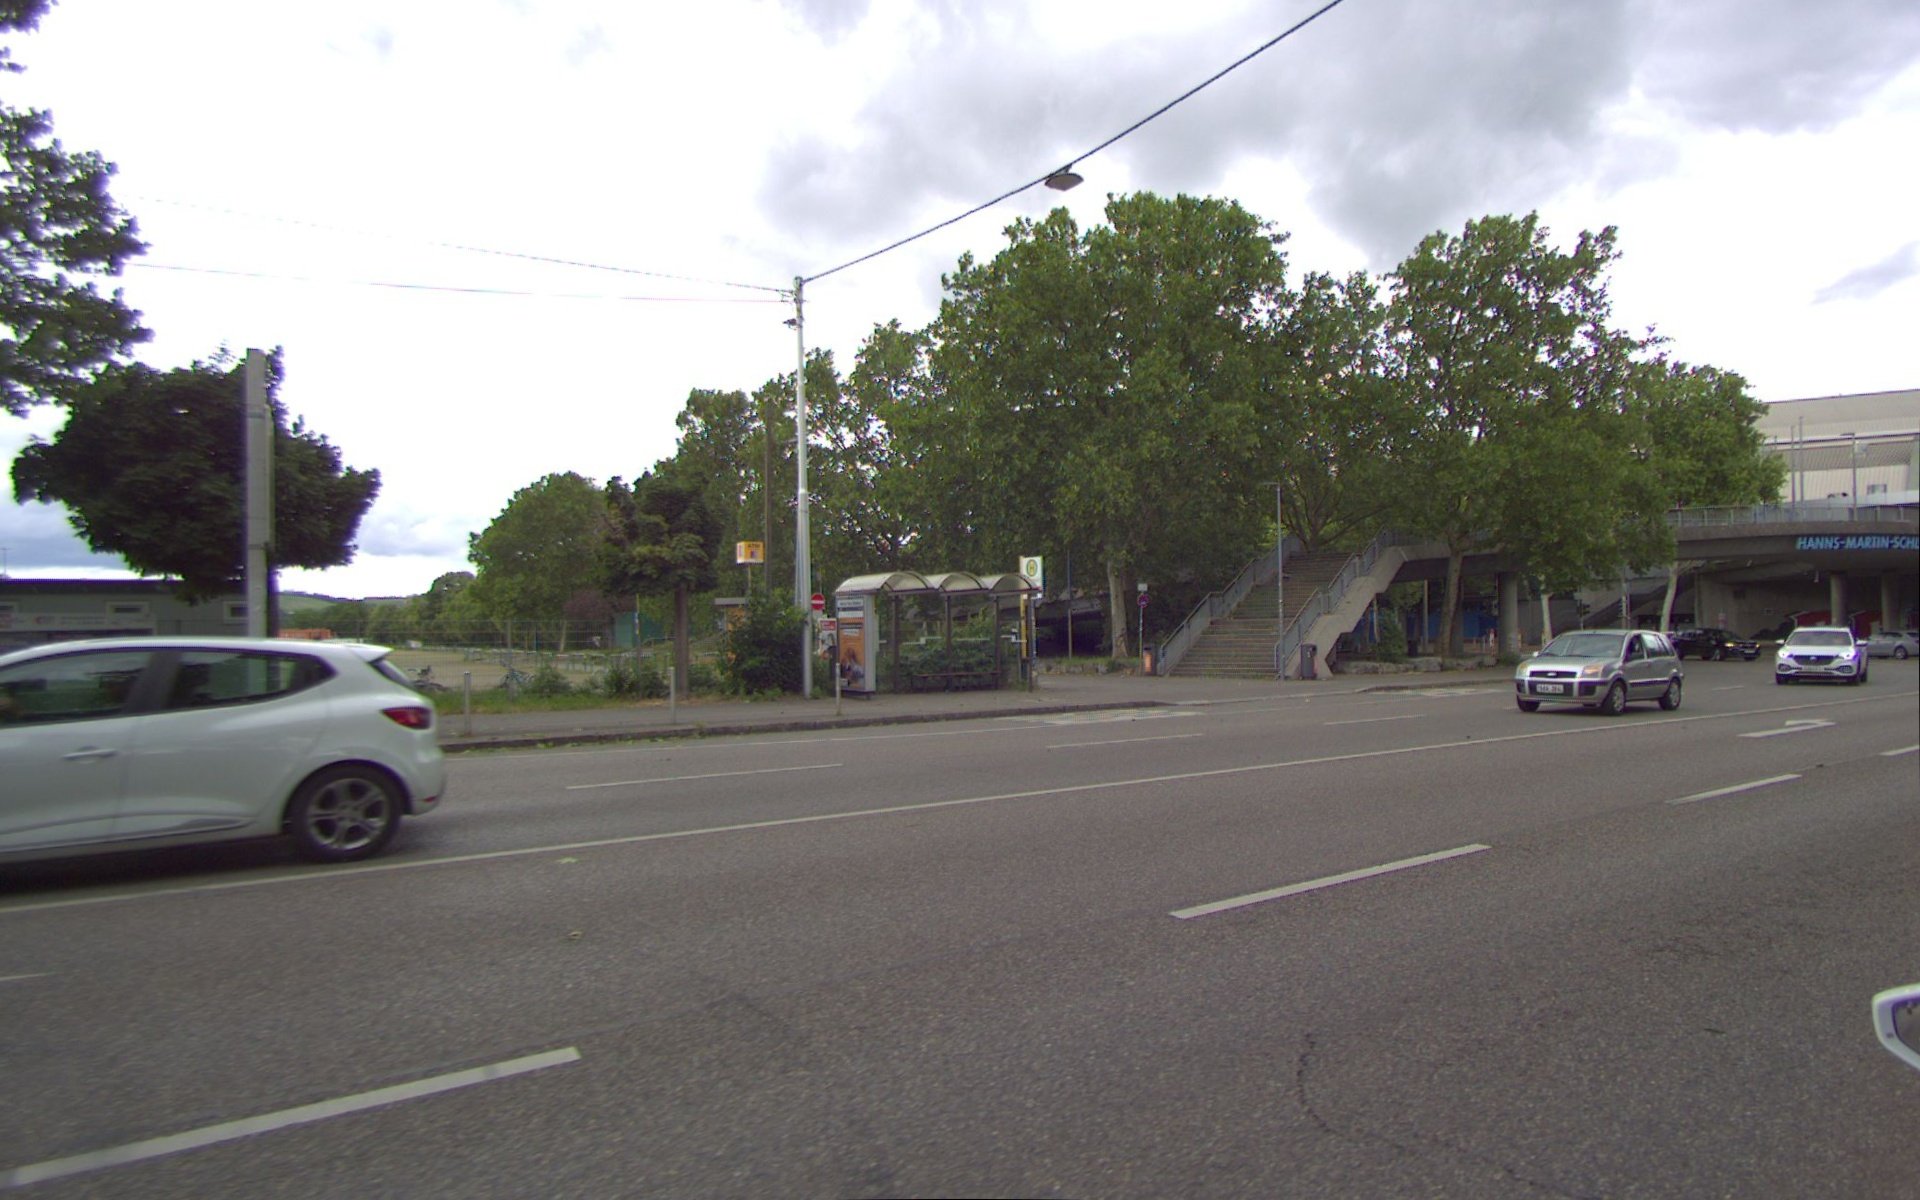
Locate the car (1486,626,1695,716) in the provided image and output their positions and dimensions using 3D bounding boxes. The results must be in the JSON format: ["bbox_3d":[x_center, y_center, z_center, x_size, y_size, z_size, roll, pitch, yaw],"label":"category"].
[{"bbox_3d":[12.109,1.323,19.239,3.960,1.545,1.981,2,-3,-35],"label":"car"}]

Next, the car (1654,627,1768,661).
[{"bbox_3d":[37.655,2.249,50.524,1.746,1.627,4.416,0,-3,-15],"label":"car"}]

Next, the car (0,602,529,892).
[{"bbox_3d":[-5.310,0.846,6.509,4.340,1.550,1.981,1,-3,-35],"label":"car"}]

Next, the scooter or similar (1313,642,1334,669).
[{"bbox_3d":[18.582,2.833,51.365,1.215,1.335,0.413,4,-5,-35],"label":"scooter or similar"}]

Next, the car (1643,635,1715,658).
[{"bbox_3d":[45.192,2.903,63.172,1.597,1.330,3.369,1,-2,-30],"label":"car"}]

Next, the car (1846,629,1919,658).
[{"bbox_3d":[47.872,2.198,51.145,1.960,1.437,4.001,0,-2,1],"label":"car"}]

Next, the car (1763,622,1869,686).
[{"bbox_3d":[25.642,1.548,30.032,4.563,1.767,1.974,2,-1,-44],"label":"car"}]
